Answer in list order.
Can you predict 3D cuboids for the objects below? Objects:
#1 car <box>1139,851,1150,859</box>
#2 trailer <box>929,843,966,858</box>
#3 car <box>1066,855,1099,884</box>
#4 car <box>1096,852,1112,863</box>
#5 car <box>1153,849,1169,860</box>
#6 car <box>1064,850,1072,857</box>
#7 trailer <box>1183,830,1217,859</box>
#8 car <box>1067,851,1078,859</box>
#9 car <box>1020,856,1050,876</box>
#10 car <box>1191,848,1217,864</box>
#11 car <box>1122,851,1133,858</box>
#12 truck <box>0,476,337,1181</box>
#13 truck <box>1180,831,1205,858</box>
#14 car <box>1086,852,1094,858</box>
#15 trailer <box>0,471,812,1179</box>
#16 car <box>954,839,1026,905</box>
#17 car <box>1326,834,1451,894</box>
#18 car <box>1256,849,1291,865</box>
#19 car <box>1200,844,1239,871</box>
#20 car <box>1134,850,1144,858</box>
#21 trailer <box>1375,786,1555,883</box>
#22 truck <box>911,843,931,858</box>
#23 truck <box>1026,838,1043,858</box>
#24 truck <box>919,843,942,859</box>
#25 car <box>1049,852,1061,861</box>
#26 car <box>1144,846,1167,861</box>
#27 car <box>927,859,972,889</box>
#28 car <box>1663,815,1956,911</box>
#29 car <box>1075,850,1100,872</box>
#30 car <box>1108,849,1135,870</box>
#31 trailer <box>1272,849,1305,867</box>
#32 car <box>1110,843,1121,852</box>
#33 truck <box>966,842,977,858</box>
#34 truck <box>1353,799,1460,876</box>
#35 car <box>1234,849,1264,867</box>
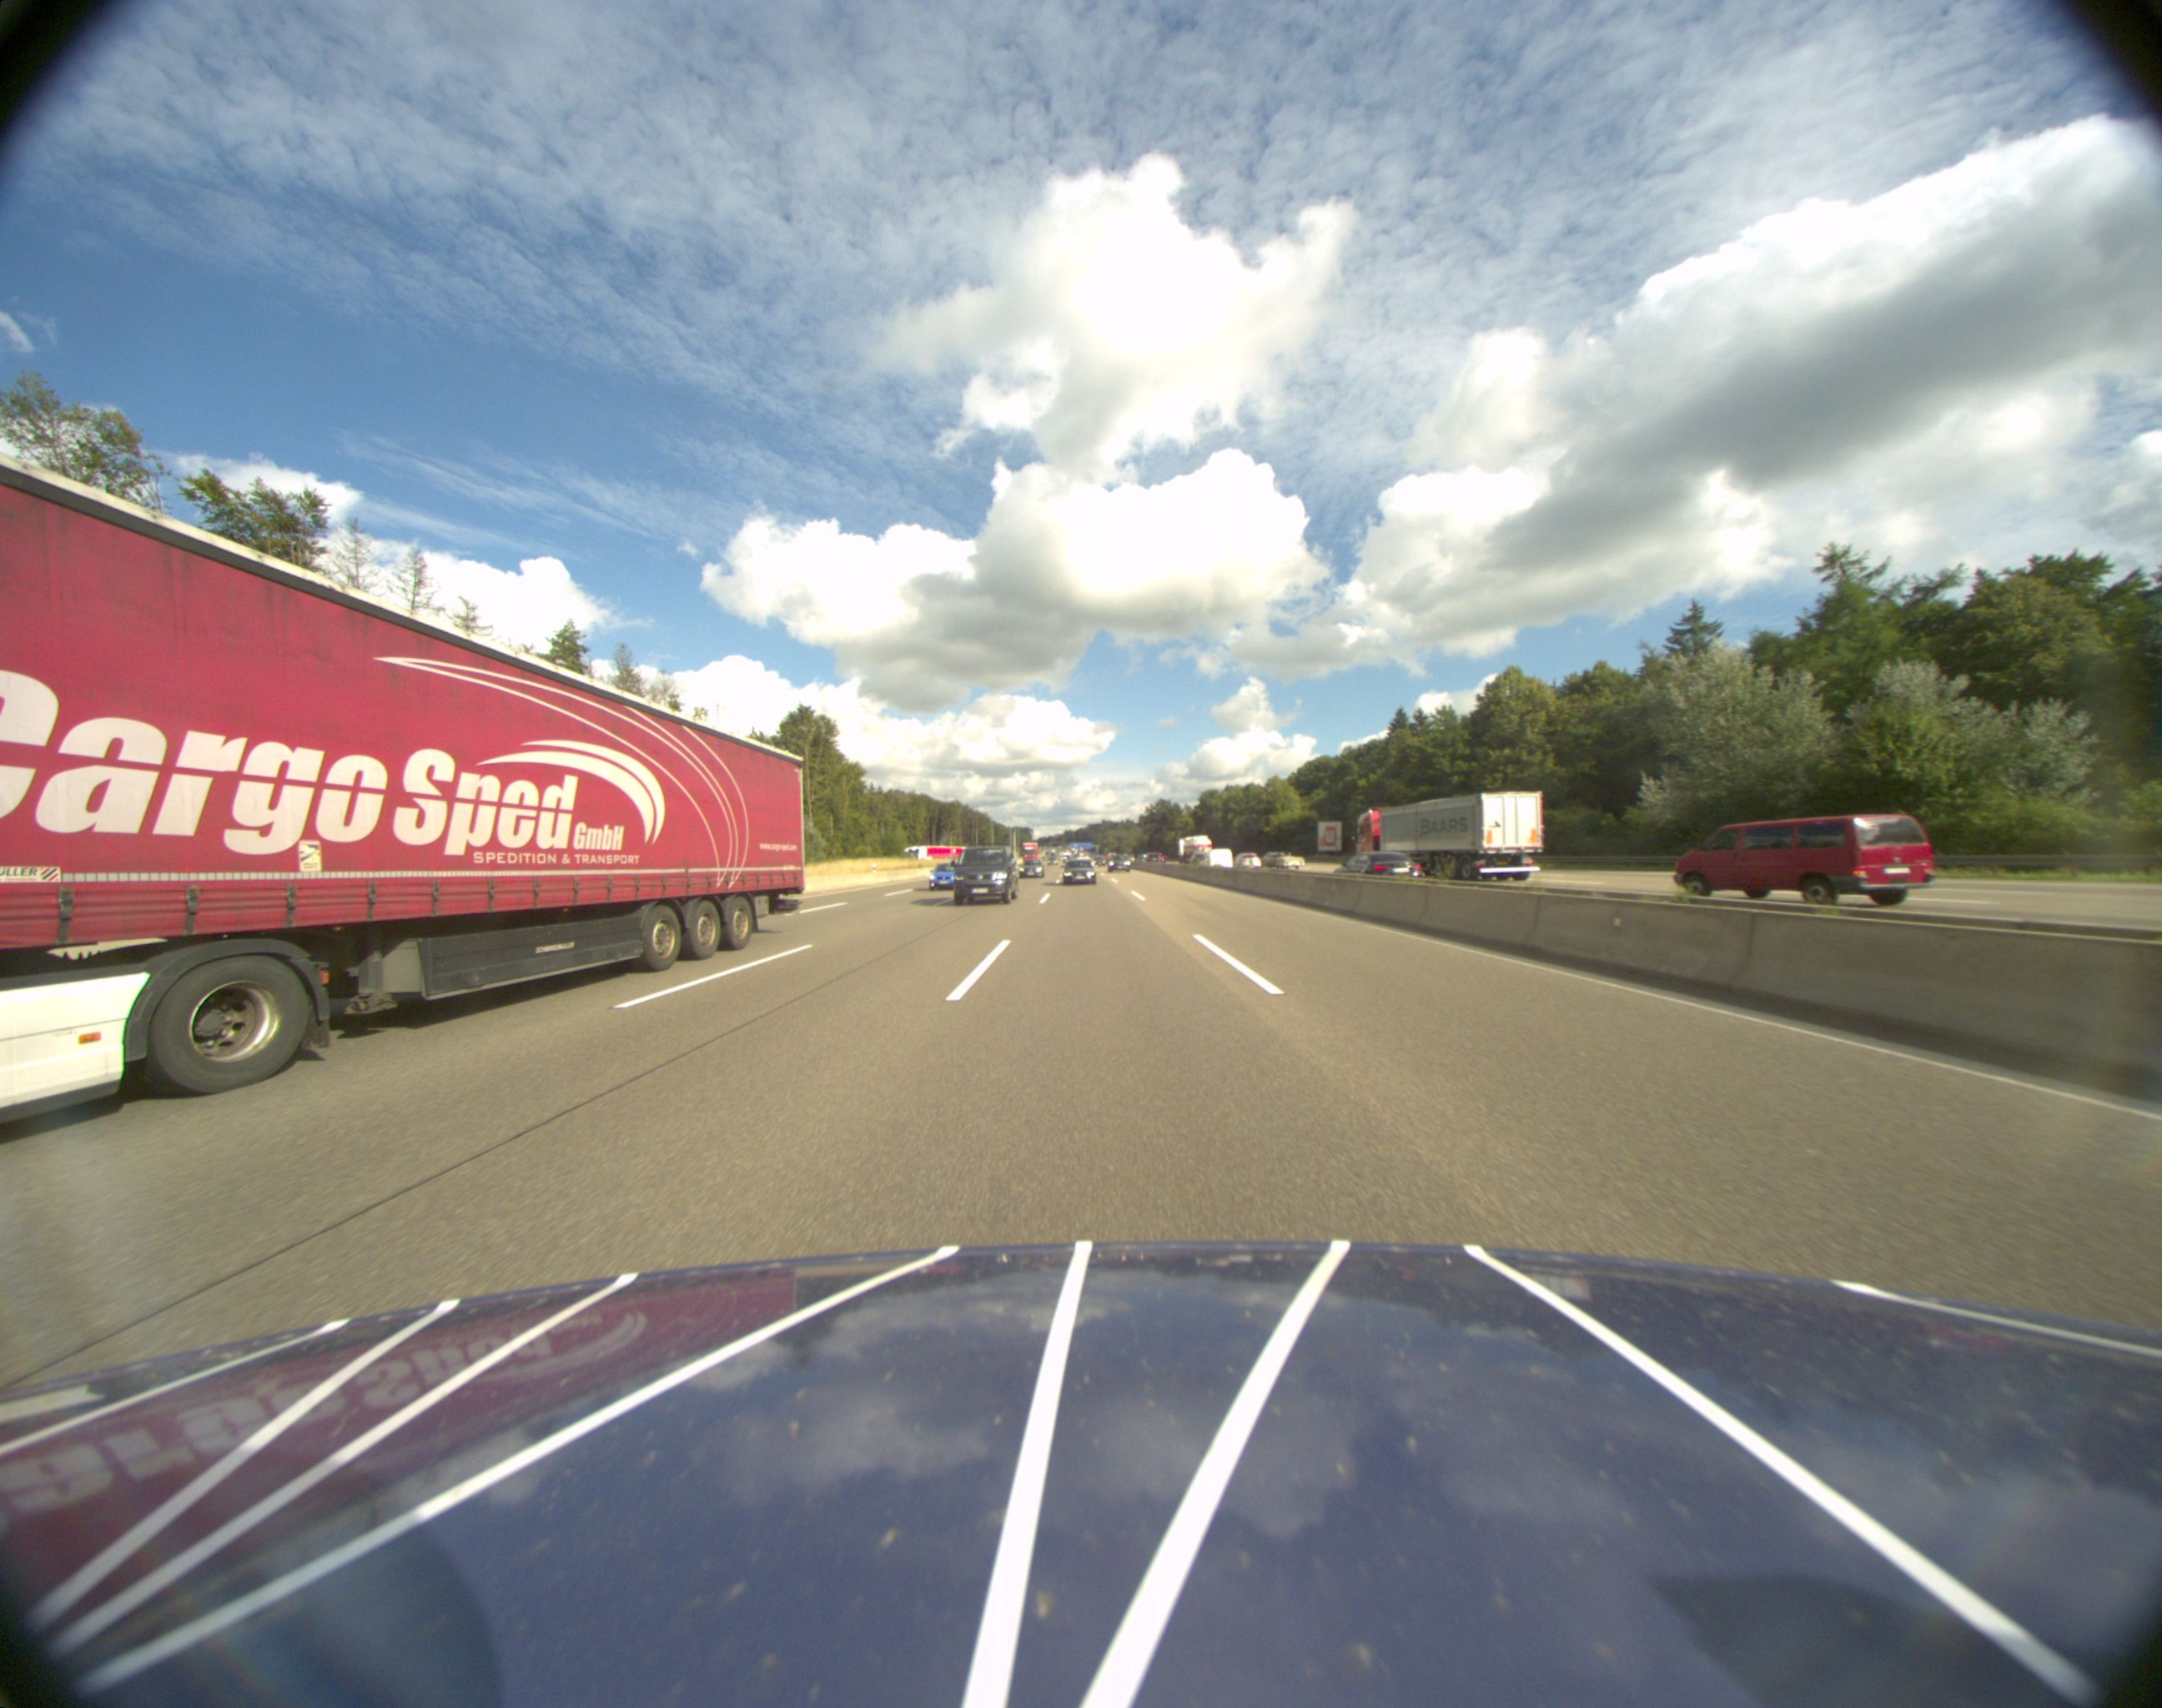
[{"bbox_3d":[12.252,0.131,146.942,1.633,1.503,3.999,-2,0,-3],"label":"car"},{"bbox_3d":[-40.217,-1.059,228.852,11.406,4.348,2.837,-2,1,-45],"label":"trailer"},{"bbox_3d":[0.039,0.829,42.757,1.733,1.500,4.727,-2,0,-1],"label":"car"},{"bbox_3d":[3.401,0.493,112.755,2.153,1.540,4.676,-2,0,-2],"label":"car"},{"bbox_3d":[12.755,0.110,120.752,1.860,1.660,5.210,-2,0,-1],"label":"car"},{"bbox_3d":[-3.290,-0.167,192.426,2.153,1.540,4.676,-2,0,-2],"label":"car"},{"bbox_3d":[17.032,-1.286,109.876,2.795,3.922,12.251,-2,0,0],"label":"trailer"},{"bbox_3d":[-1.719,0.151,159.110,2.153,1.540,4.676,-2,0,-2],"label":"car"},{"bbox_3d":[-3.520,0.884,59.140,2.153,1.426,5.098,-2,0,-2],"label":"car"},{"bbox_3d":[13.770,0.179,85.124,1.999,1.654,4.686,-2,0,-2],"label":"car"},{"bbox_3d":[10.570,0.122,172.858,1.999,1.476,5.130,-2,0,-1],"label":"car"},{"bbox_3d":[-7.552,-0.123,3.310,2.781,4.021,5.773,-2,0,0],"label":"truck"},{"bbox_3d":[16.986,-1.358,115.948,2.795,3.922,6.444,-2,0,0],"label":"truck"},{"bbox_3d":[2.521,0.204,218.544,2.153,1.540,4.676,-2,0,-2],"label":"car"},{"bbox_3d":[-7.497,-0.156,10.134,2.781,4.021,13.712,-2,0,0],"label":"trailer"},{"bbox_3d":[-3.178,0.596,27.465,1.853,2.097,4.932,-2,0,1],"label":"car"},{"bbox_3d":[10.789,0.316,27.202,2.177,1.867,5.361,-2,0,-1],"label":"car"},{"bbox_3d":[17.377,0.269,68.710,1.832,1.406,4.674,-2,0,-2],"label":"car"},{"bbox_3d":[10.024,0.246,55.295,1.854,1.867,4.615,-2,0,-1],"label":"car"},{"bbox_3d":[13.092,0.014,171.574,1.860,1.551,4.284,-2,0,-1],"label":"car"},{"bbox_3d":[17.733,-0.803,36.398,2.974,3.835,11.280,-2,0,1],"label":"trailer"},{"bbox_3d":[-47.652,-0.949,226.802,2.889,4.482,5.133,0,1,44],"label":"truck"},{"bbox_3d":[-8.542,-1.059,140.116,3.018,3.662,7.559,-1,0,-2],"label":"truck"},{"bbox_3d":[-44.449,-0.997,224.590,2.873,4.481,6.109,-1,1,45],"label":"truck"},{"bbox_3d":[-4.967,0.483,143.391,2.153,1.540,4.676,-2,0,-2],"label":"car"},{"bbox_3d":[9.338,-0.086,95.629,2.160,1.690,5.349,-2,0,-2],"label":"car"},{"bbox_3d":[-6.868,1.006,40.025,1.654,1.433,3.999,-2,0,-1],"label":"car"},{"bbox_3d":[16.650,0.168,17.859,1.852,1.929,5.031,0,0,-4],"label":"car"},{"bbox_3d":[0.565,0.591,68.704,2.153,1.800,5.098,-2,1,0],"label":"car"},{"bbox_3d":[3.684,0.464,69.917,2.153,1.800,5.098,-2,1,0],"label":"car"},{"bbox_3d":[17.499,0.308,64.282,1.538,1.394,4.179,-2,0,-2],"label":"trailer"},{"bbox_3d":[8.285,-1.618,184.198,2.165,2.002,5.821,0,0,-1],"label":"car"},{"bbox_3d":[-30.773,-1.027,213.597,2.880,4.480,7.172,0,0,-8],"label":"truck"},{"bbox_3d":[17.757,-0.872,42.026,2.974,3.835,6.764,-2,0,1],"label":"truck"},{"bbox_3d":[13.825,0.346,62.835,1.607,1.395,4.000,-2,0,0],"label":"car"}]
